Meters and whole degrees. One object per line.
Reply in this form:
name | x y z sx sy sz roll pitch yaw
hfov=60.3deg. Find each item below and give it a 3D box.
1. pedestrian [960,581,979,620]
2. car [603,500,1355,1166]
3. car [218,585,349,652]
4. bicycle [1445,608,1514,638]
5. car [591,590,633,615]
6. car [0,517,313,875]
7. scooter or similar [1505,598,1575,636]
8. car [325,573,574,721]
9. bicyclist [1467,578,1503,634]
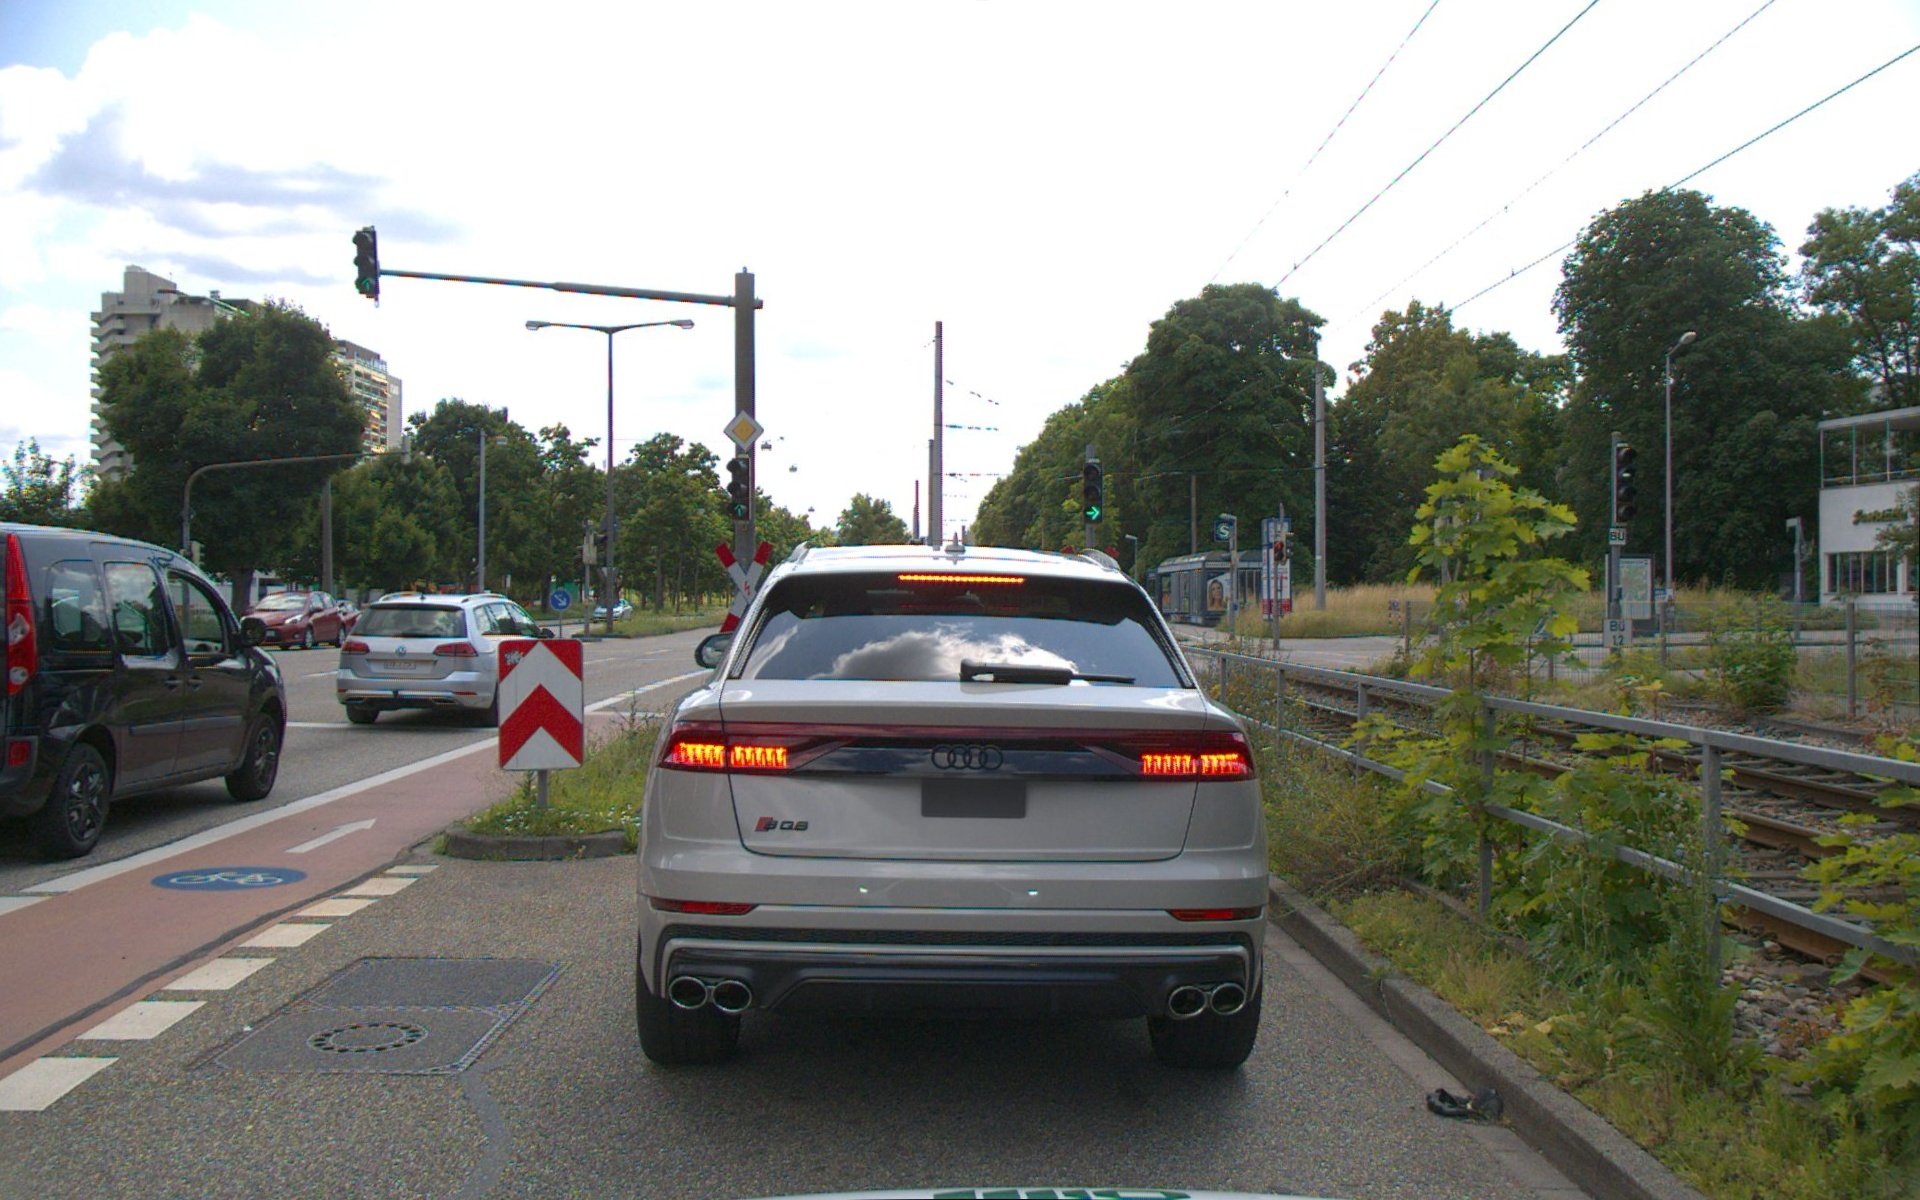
pedestrian | 0.376 0.021 65.222 0.642 1.540 0.716 0 0 -10
car | 0.024 0.622 6.613 1.941 1.713 4.573 1 0 -1
car | -17.470 0.453 42.916 1.954 1.646 3.997 0 0 -4
bicycle | 14.014 0.614 44.638 1.686 0.778 0.555 1 0 1
car | -21.046 0.136 100.056 1.764 1.457 4.494 0 0 -3
car | -5.591 0.479 10.287 1.724 1.808 3.906 1 0 -3
scooter or similar | 15.660 0.446 44.688 1.542 0.997 0.962 -1 0 1
car | -5.964 0.513 19.855 1.750 1.552 4.299 1 0 -2
bicyclist | 14.183 0.166 44.675 0.821 1.501 0.455 0 0 1
